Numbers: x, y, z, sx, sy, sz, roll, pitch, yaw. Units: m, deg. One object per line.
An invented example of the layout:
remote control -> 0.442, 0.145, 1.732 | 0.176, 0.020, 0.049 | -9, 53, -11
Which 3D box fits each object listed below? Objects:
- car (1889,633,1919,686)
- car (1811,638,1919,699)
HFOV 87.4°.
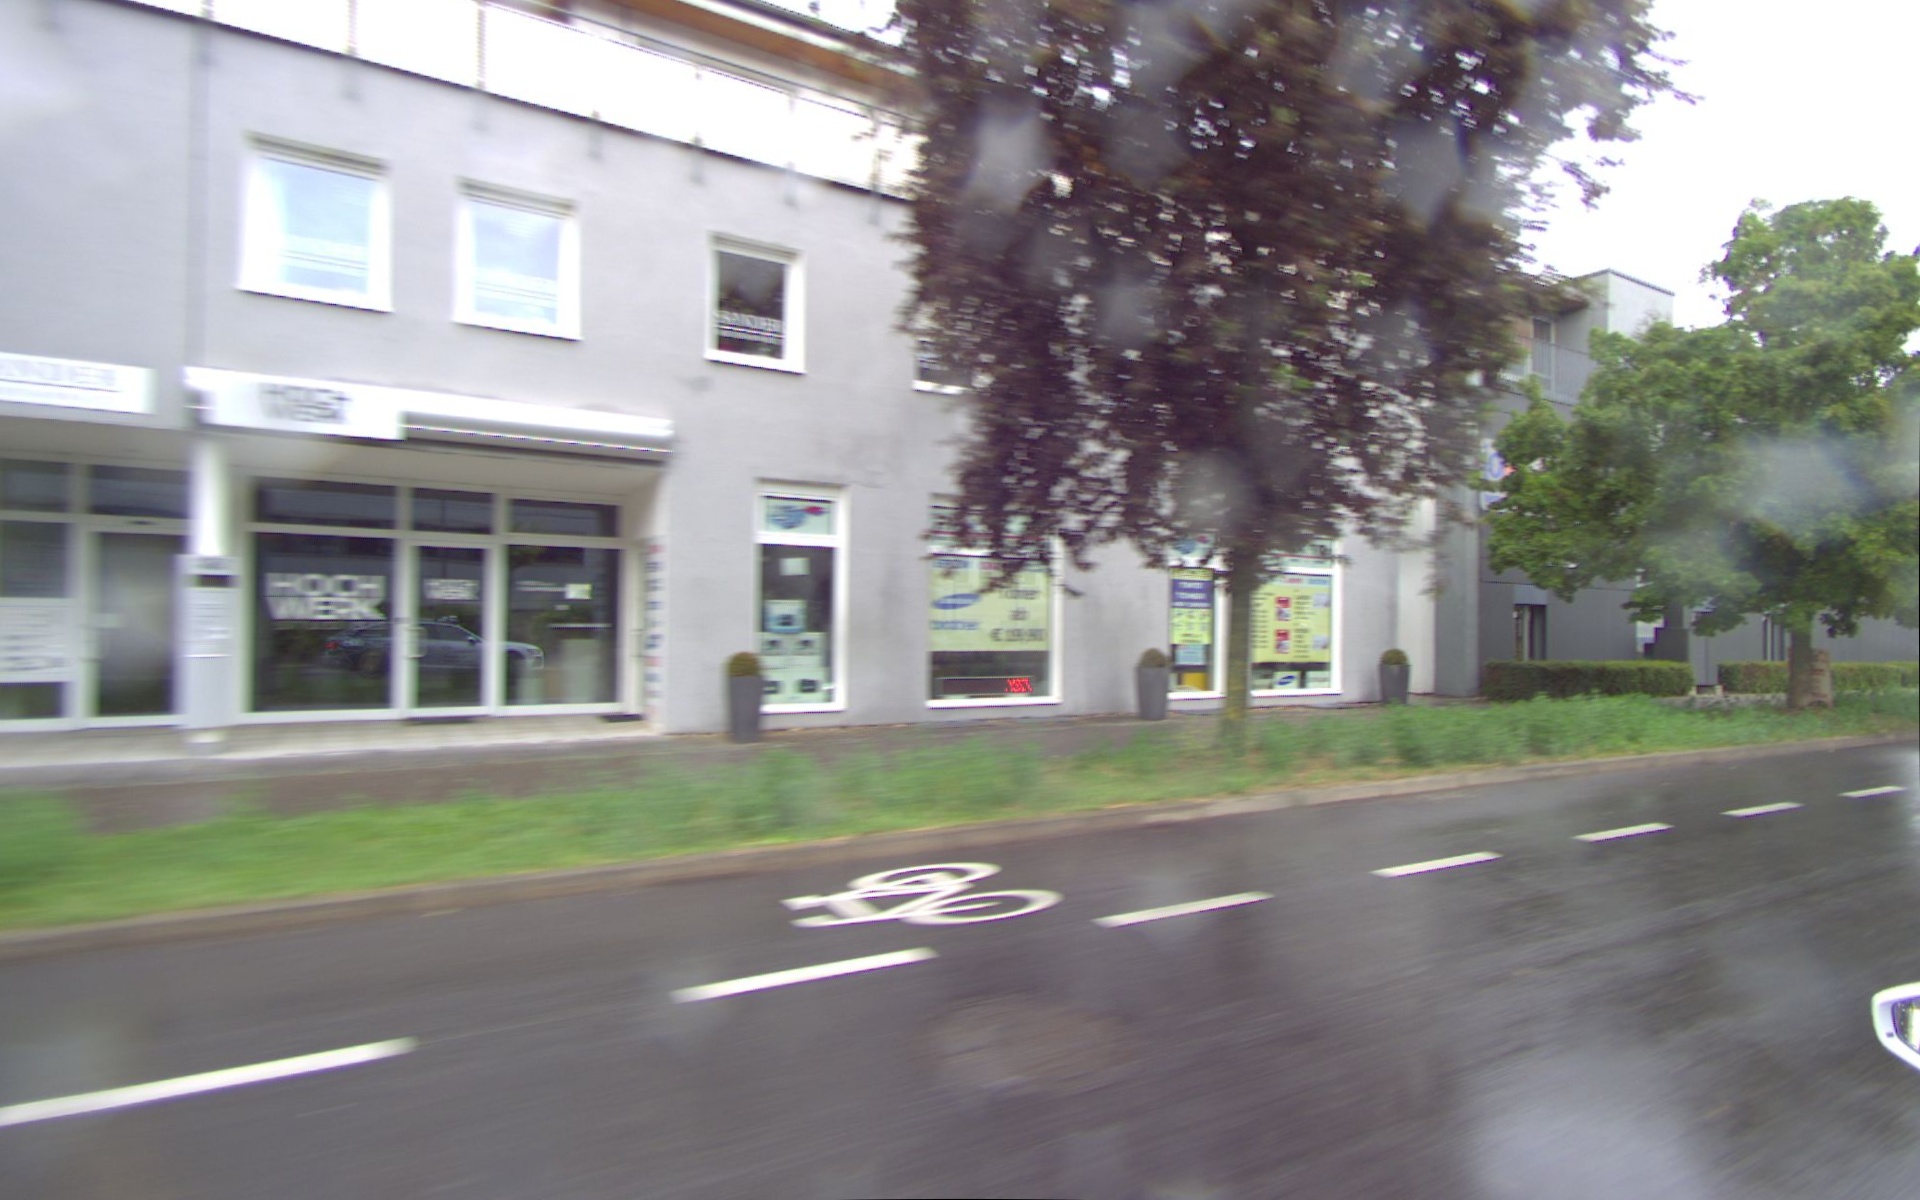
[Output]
car -> 24.662, 1.418, 23.579 | 1.562, 1.301, 3.885 | 2, -3, -28
car -> 35.113, 2.544, 37.743 | 2.129, 2.040, 4.374 | 0, 0, -31
